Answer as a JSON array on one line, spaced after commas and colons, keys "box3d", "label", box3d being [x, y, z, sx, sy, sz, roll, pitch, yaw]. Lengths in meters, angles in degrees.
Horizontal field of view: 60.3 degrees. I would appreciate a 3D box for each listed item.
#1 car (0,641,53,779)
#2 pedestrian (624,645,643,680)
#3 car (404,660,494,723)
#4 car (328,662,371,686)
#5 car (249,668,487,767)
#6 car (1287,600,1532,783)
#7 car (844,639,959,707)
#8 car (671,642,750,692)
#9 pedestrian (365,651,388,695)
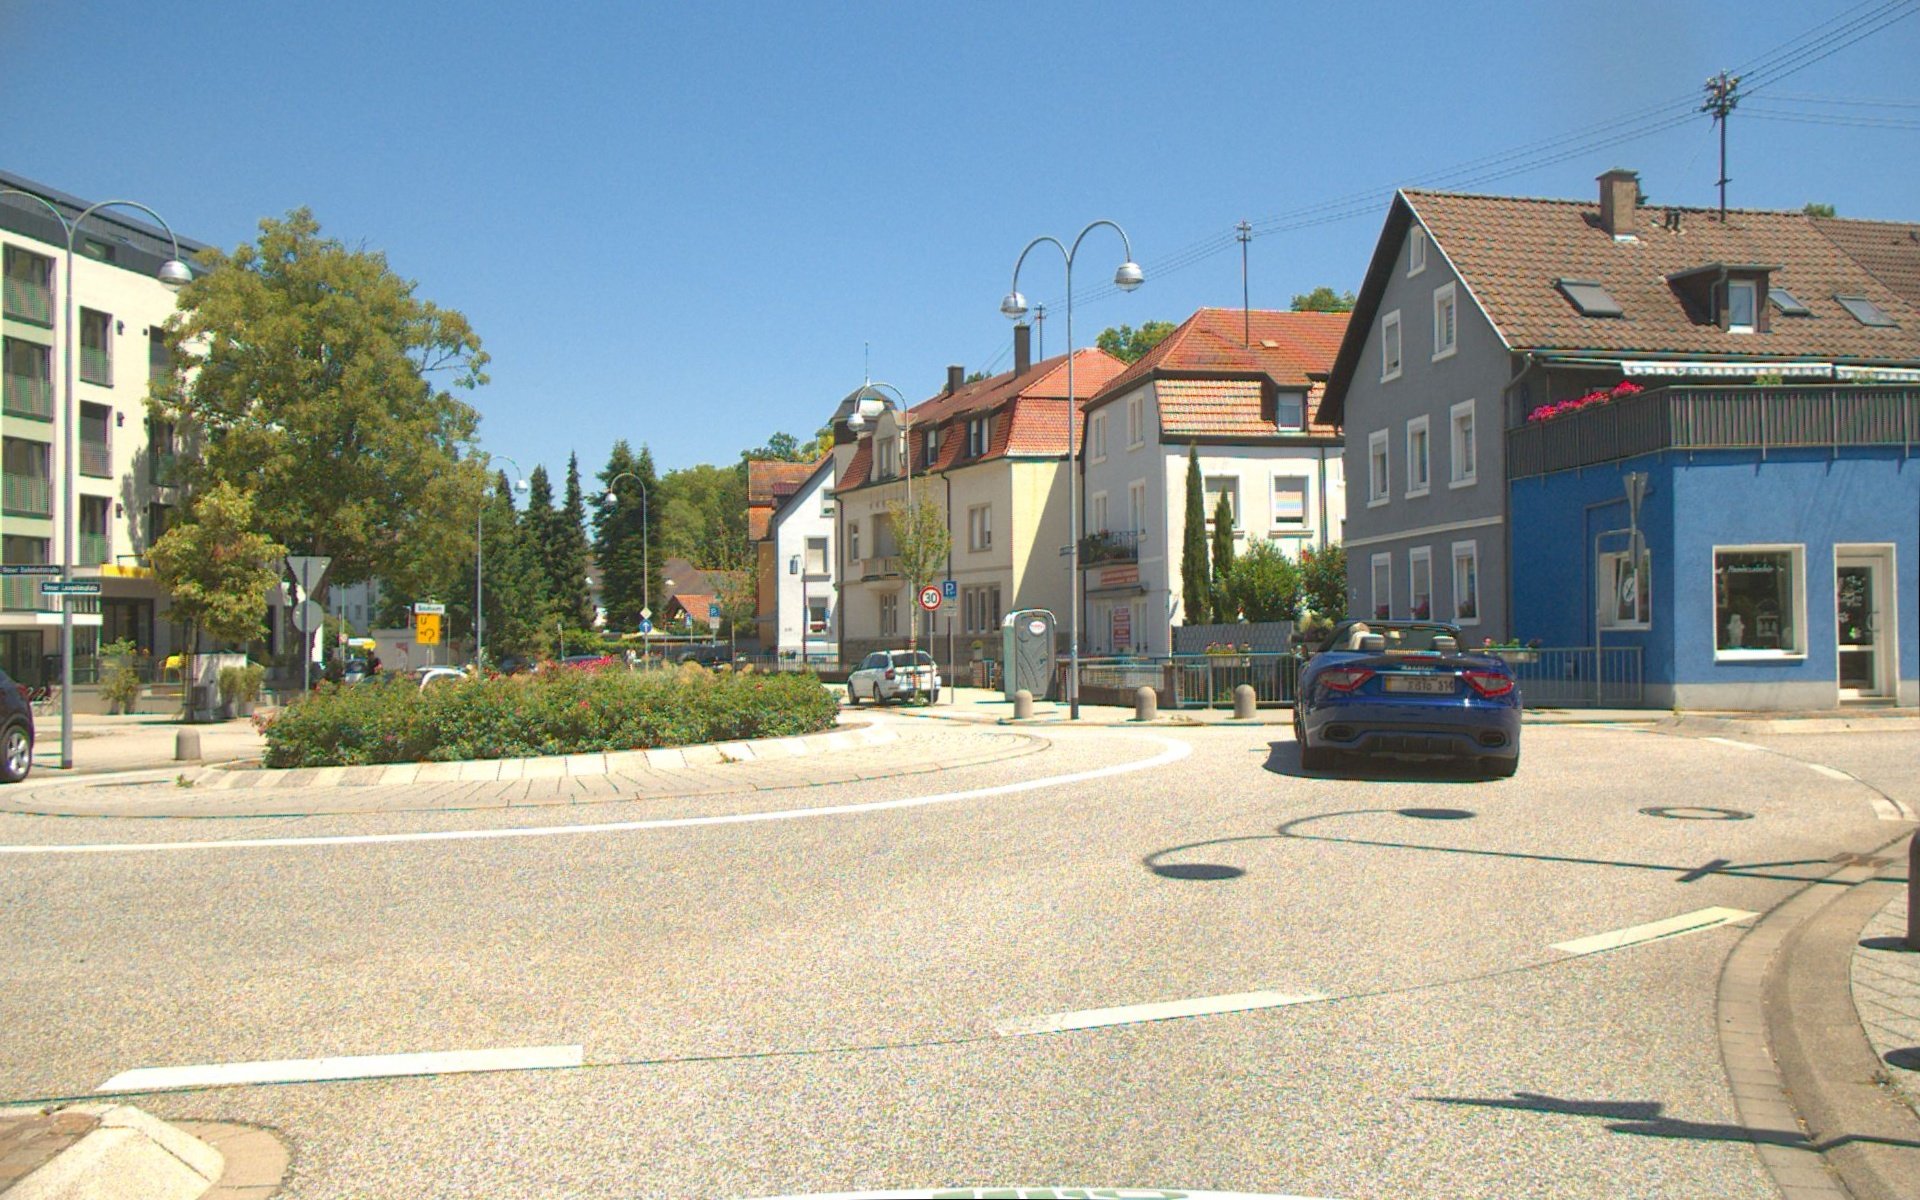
[{"box3d": [-12.030, 1.323, 18.320, 1.956, 1.589, 4.160, -3, -1, -7], "label": "car"}, {"box3d": [-17.650, 3.361, 89.393, 0.832, 1.846, 0.545, 1, -1, -26], "label": "pedestrian"}, {"box3d": [-14.119, 2.503, 45.864, 1.762, 1.618, 3.991, 1, -2, -9], "label": "car"}, {"box3d": [-38.169, 4.613, 103.375, 1.528, 1.403, 3.949, 0, -2, -36], "label": "car"}, {"box3d": [-10.344, 2.025, 29.261, 1.885, 1.406, 4.291, -4, -1, 13], "label": "car"}, {"box3d": [4.287, 0.732, 15.762, 1.934, 1.422, 4.630, 0, 1, 16], "label": "car"}, {"box3d": [-1.701, 2.020, 46.226, 1.964, 1.611, 4.263, -5, -1, -19], "label": "car"}, {"box3d": [-10.252, 2.708, 67.744, 1.969, 1.898, 4.251, 1, 0, -26], "label": "car"}, {"box3d": [-20.133, 2.515, 57.037, 0.519, 1.511, 0.556, -2, -2, 10], "label": "pedestrian"}]
